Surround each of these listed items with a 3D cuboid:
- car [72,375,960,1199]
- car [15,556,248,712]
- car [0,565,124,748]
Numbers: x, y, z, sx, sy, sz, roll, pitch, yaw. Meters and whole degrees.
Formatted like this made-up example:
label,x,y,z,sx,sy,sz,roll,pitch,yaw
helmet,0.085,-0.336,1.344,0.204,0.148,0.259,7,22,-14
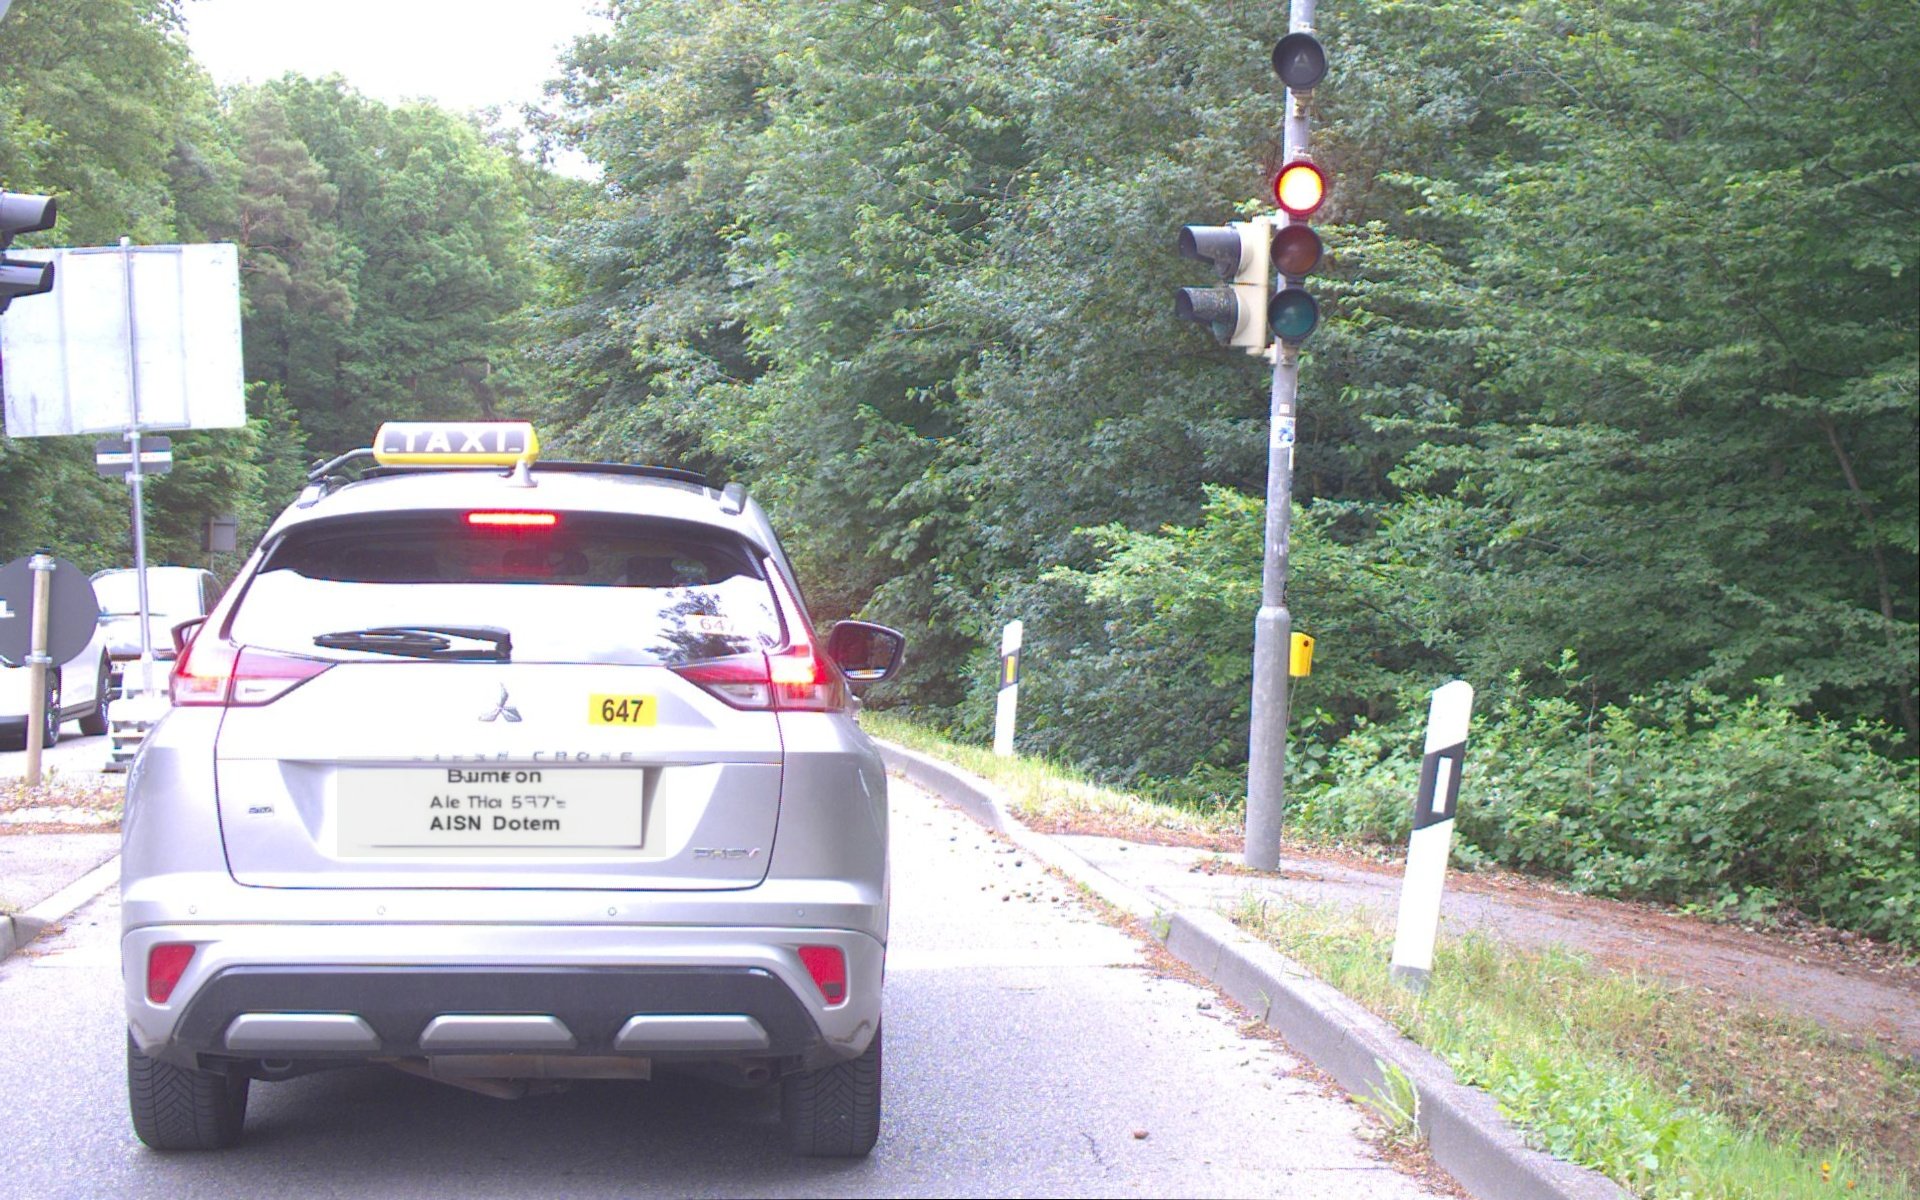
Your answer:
label,x,y,z,sx,sy,sz,roll,pitch,yaw
car,-1.135,0.375,9.376,1.846,1.774,4.001,2,2,-5
car,-8.651,0.324,36.175,1.811,1.503,3.722,-2,1,-5
car,-7.927,0.427,27.683,1.612,1.317,3.722,-2,2,-3
